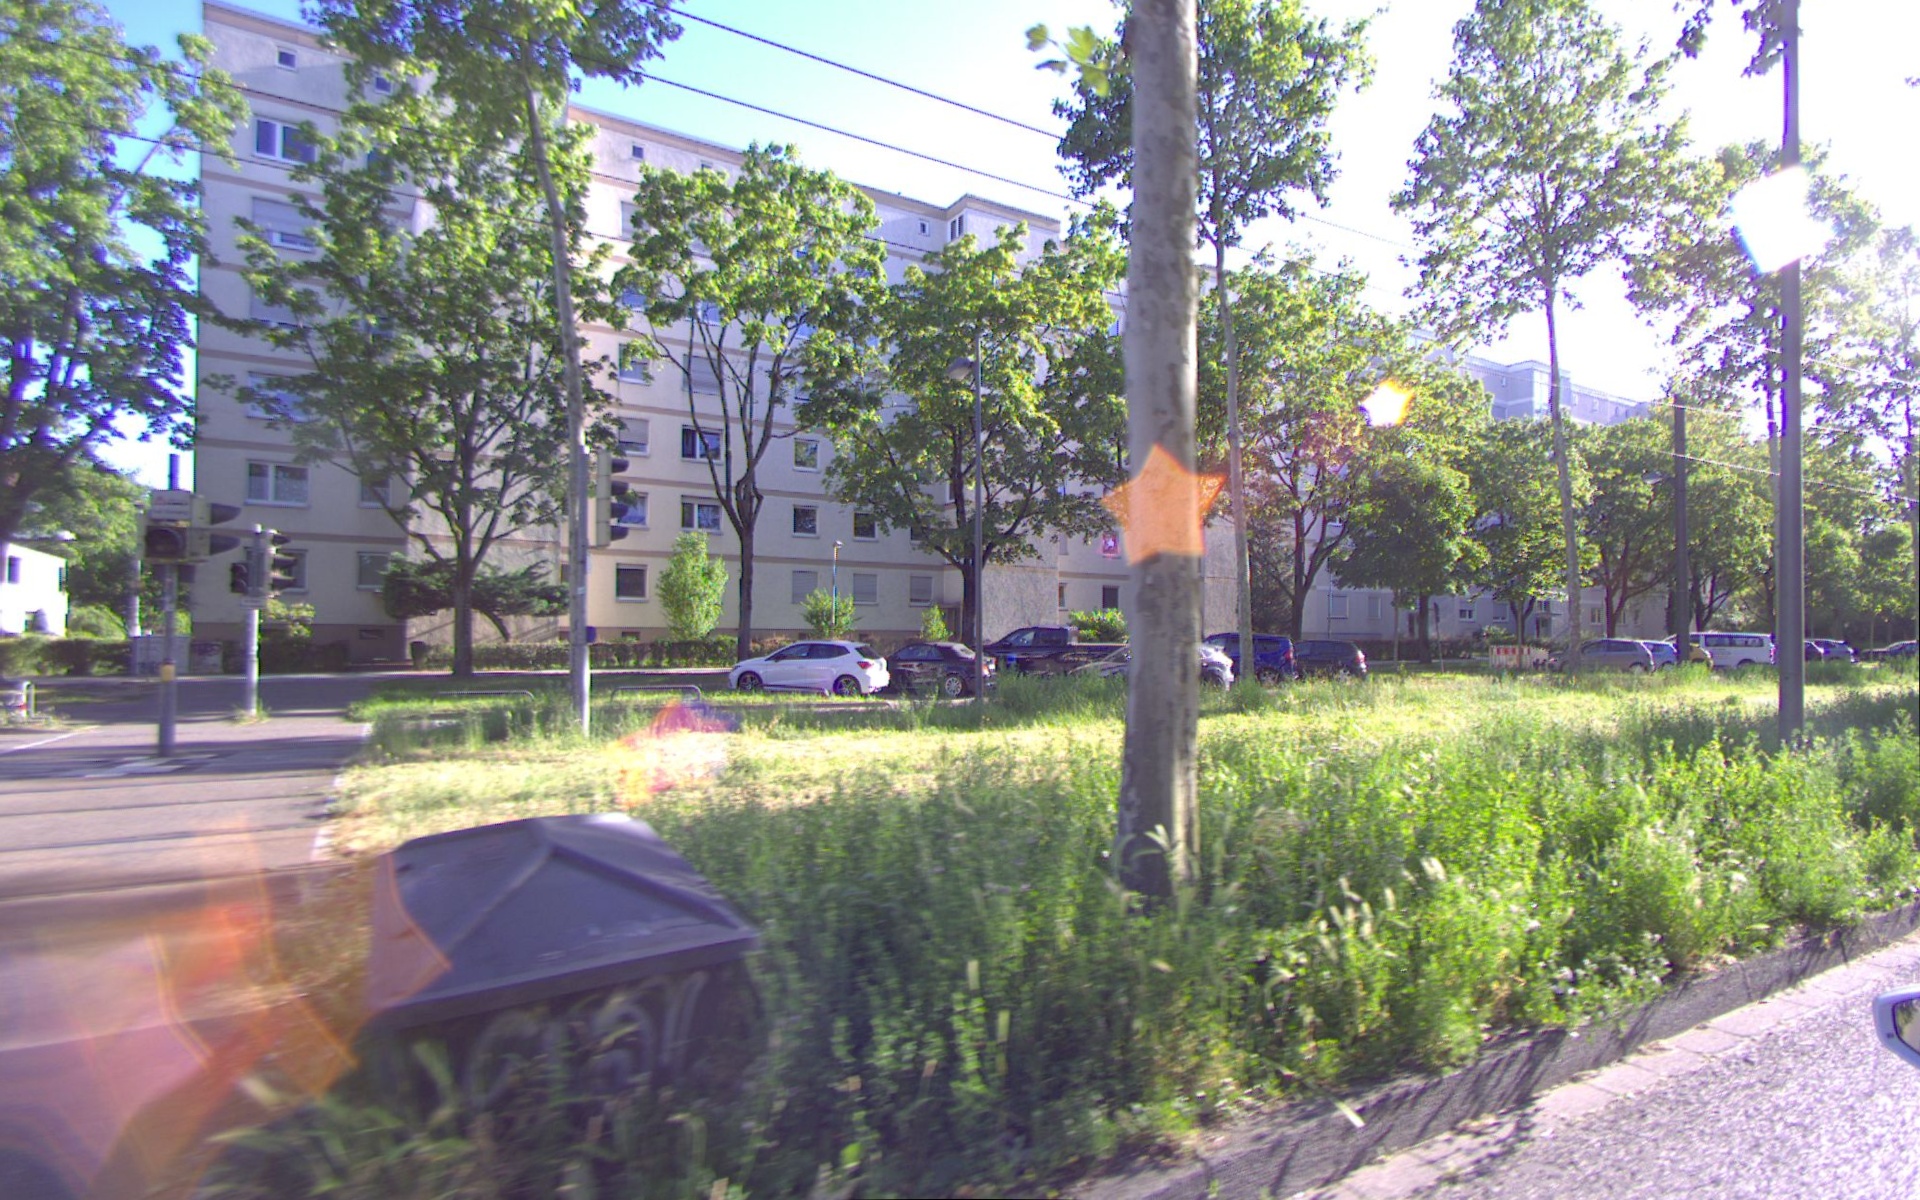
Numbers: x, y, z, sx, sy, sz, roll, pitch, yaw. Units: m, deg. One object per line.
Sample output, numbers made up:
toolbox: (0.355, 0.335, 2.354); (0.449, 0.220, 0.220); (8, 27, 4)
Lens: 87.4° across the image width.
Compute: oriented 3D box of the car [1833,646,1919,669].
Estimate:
car: (56.857, 3.538, 62.043); (4.049, 1.355, 1.796); (0, -1, 18)

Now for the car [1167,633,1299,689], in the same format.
car: (8.803, 1.957, 32.575); (4.003, 1.668, 1.652); (-1, 0, 15)

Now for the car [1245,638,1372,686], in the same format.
car: (11.926, 2.110, 34.622); (4.002, 1.496, 1.652); (0, 2, 14)

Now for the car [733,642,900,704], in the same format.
car: (-3.554, 1.788, 25.188); (3.747, 1.454, 1.842); (0, -2, 11)

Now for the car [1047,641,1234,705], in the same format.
car: (4.347, 1.696, 24.122); (4.116, 1.407, 1.986); (1, -2, -28)

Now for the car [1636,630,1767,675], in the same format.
car: (35.556, 2.487, 48.333); (4.706, 2.033, 1.892); (0, -1, 22)

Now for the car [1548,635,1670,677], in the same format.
car: (27.402, 2.360, 42.541); (4.004, 1.667, 1.652); (0, -3, 19)

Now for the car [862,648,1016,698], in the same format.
car: (-0.534, 1.937, 26.992); (3.749, 1.262, 1.841); (-1, -3, 19)

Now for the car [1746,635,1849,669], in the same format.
car: (44.057, 2.698, 52.901); (4.030, 1.628, 1.983); (-1, -1, 45)

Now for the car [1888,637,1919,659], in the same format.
car: (75.554, 3.782, 78.218); (4.397, 1.697, 1.796); (0, -2, 18)

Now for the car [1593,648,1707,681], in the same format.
car: (31.888, 2.976, 46.534); (4.003, 1.451, 1.580); (0, -4, 17)

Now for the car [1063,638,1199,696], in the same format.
car: (5.231, 2.025, 30.712); (4.002, 1.667, 1.653); (0, -2, 12)

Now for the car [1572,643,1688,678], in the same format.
car: (29.853, 2.672, 44.862); (4.004, 1.502, 1.652); (0, -2, 19)

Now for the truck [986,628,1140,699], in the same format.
truck: (2.904, 1.729, 28.361); (4.008, 1.798, 1.650); (1, -1, 25)
